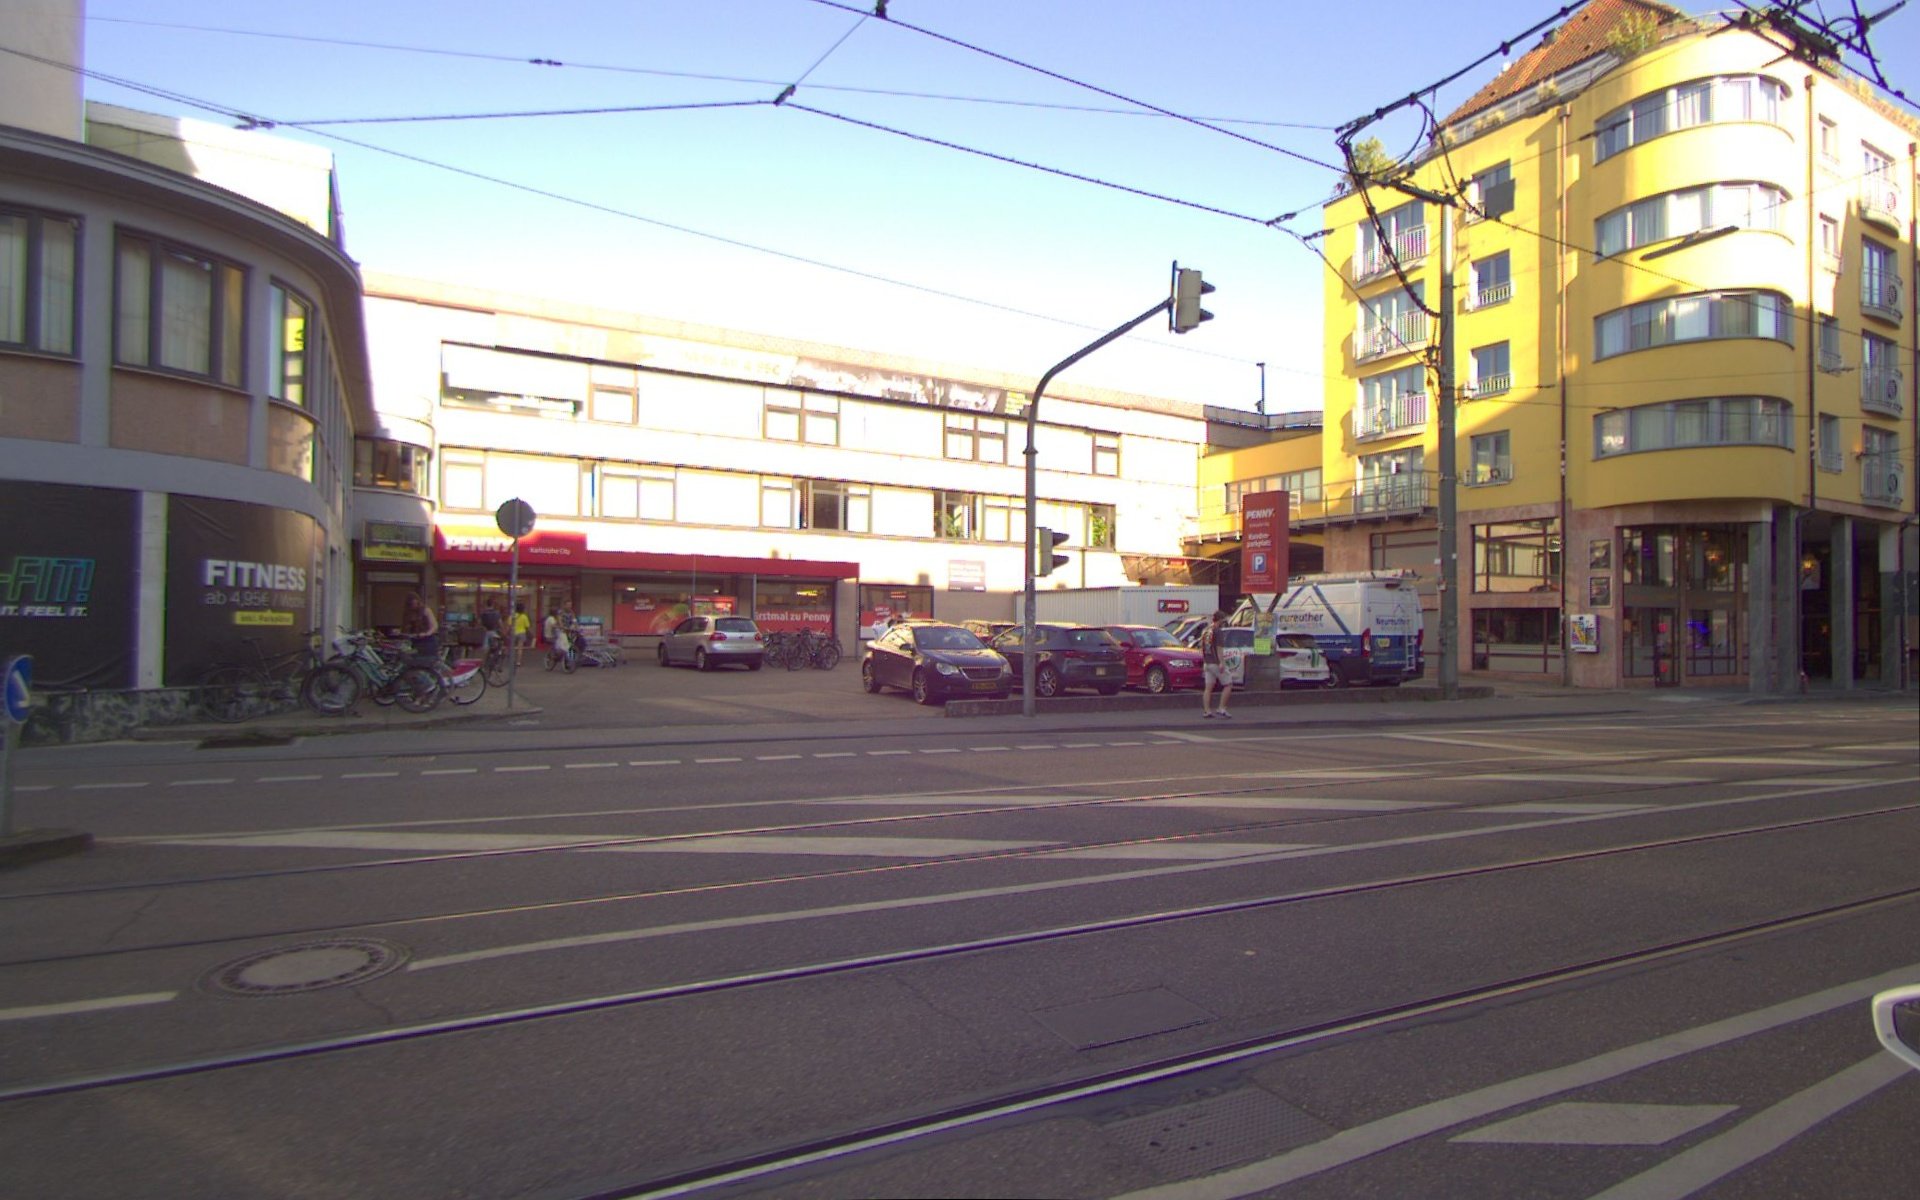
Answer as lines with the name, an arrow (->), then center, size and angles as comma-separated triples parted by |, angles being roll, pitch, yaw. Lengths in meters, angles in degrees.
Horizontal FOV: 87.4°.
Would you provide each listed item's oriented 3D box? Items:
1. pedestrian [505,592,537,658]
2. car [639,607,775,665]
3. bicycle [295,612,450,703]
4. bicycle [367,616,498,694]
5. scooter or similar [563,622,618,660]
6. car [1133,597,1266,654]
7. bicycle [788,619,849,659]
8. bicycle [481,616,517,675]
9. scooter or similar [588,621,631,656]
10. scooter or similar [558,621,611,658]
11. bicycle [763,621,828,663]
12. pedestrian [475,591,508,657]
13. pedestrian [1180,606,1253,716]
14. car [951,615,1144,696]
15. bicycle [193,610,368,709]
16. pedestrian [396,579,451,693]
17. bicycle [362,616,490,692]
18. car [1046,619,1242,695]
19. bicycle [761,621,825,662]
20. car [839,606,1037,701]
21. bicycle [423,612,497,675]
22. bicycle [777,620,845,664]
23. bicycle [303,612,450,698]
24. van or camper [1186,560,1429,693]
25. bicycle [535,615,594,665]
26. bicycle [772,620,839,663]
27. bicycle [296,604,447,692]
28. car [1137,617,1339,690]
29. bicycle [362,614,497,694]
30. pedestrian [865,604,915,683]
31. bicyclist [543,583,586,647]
pedestrian -> -11.741, 0.669, 26.861 | 0.675, 1.719, 0.674 | 2, -1, -30
car -> -7.187, 0.967, 28.205 | 1.865, 1.495, 4.548 | 2, -2, -41
bicycle -> -8.142, 0.789, 13.973 | 1.813, 1.203, 0.437 | 2, -2, -35
bicycle -> -8.467, 0.884, 16.165 | 1.811, 1.203, 0.445 | 2, -2, -33
scooter or similar -> -9.953, 1.102, 27.055 | 1.233, 0.974, 0.908 | 3, -1, -31
car -> 7.952, 0.863, 33.335 | 4.073, 1.759, 1.984 | 2, -2, -31
bicycle -> -4.379, 1.216, 31.040 | 1.805, 1.203, 0.430 | 2, -1, -23
bicycle -> -9.876, 0.955, 21.494 | 0.346, 1.203, 1.813 | 2, -2, -35
scooter or similar -> -10.370, 1.126, 29.684 | 0.905, 0.974, 1.354 | 3, -1, -31
scooter or similar -> -10.425, 1.100, 27.882 | 1.233, 0.974, 0.908 | 3, -1, -31
bicycle -> -4.789, 1.227, 29.277 | 1.805, 1.203, 0.430 | 2, -1, -23
pedestrian -> -12.346, 0.633, 26.466 | 0.695, 1.719, 0.620 | 2, -1, -30
pedestrian -> 4.464, 1.042, 17.476 | 0.898, 1.856, 0.829 | 2, -1, -30
car -> 1.683, 1.097, 21.088 | 1.856, 1.495, 4.570 | 2, -2, -28
bicycle -> -8.748, 0.755, 12.995 | 1.813, 1.203, 0.442 | 2, -2, -36
pedestrian -> -8.317, 0.554, 15.571 | 0.675, 1.719, 0.677 | 2, -1, -31
bicycle -> -8.777, 0.877, 16.542 | 1.811, 1.203, 0.445 | 2, -2, -33
car -> 3.934, 1.192, 22.307 | 1.856, 1.495, 4.570 | 2, -2, -28
bicycle -> -4.935, 1.232, 29.761 | 1.805, 1.203, 0.430 | 2, -1, -23
car -> -0.599, 0.974, 19.558 | 1.856, 1.604, 4.875 | 2, -2, -28
bicycle -> -10.020, 0.857, 20.104 | 1.800, 1.203, 0.455 | 0, -1, 34
bicycle -> -4.160, 1.178, 28.059 | 1.805, 1.203, 0.430 | 2, -1, -23
bicycle -> -8.531, 0.802, 14.741 | 1.811, 1.203, 0.440 | 2, -2, -33
van or camper -> 8.297, 0.650, 24.617 | 2.286, 2.864, 5.584 | 2, -2, -28
bicycle -> -9.915, 0.983, 25.164 | 1.807, 1.186, 0.679 | 0, -2, 45
bicycle -> -4.381, 1.179, 28.545 | 1.805, 1.203, 0.430 | 2, -1, -23
bicycle -> -8.376, 0.681, 14.352 | 1.811, 1.203, 0.445 | 2, -2, -33
car -> 6.230, 1.166, 23.105 | 1.856, 1.495, 4.570 | 2, -2, -28
bicycle -> -8.238, 0.833, 15.643 | 1.811, 1.203, 0.445 | 2, -2, -33
pedestrian -> -1.527, 0.951, 21.965 | 0.826, 1.691, 0.766 | 2, -1, -28
bicyclist -> -9.920, 0.380, 25.196 | 0.826, 1.570, 0.687 | 0, -2, 44
